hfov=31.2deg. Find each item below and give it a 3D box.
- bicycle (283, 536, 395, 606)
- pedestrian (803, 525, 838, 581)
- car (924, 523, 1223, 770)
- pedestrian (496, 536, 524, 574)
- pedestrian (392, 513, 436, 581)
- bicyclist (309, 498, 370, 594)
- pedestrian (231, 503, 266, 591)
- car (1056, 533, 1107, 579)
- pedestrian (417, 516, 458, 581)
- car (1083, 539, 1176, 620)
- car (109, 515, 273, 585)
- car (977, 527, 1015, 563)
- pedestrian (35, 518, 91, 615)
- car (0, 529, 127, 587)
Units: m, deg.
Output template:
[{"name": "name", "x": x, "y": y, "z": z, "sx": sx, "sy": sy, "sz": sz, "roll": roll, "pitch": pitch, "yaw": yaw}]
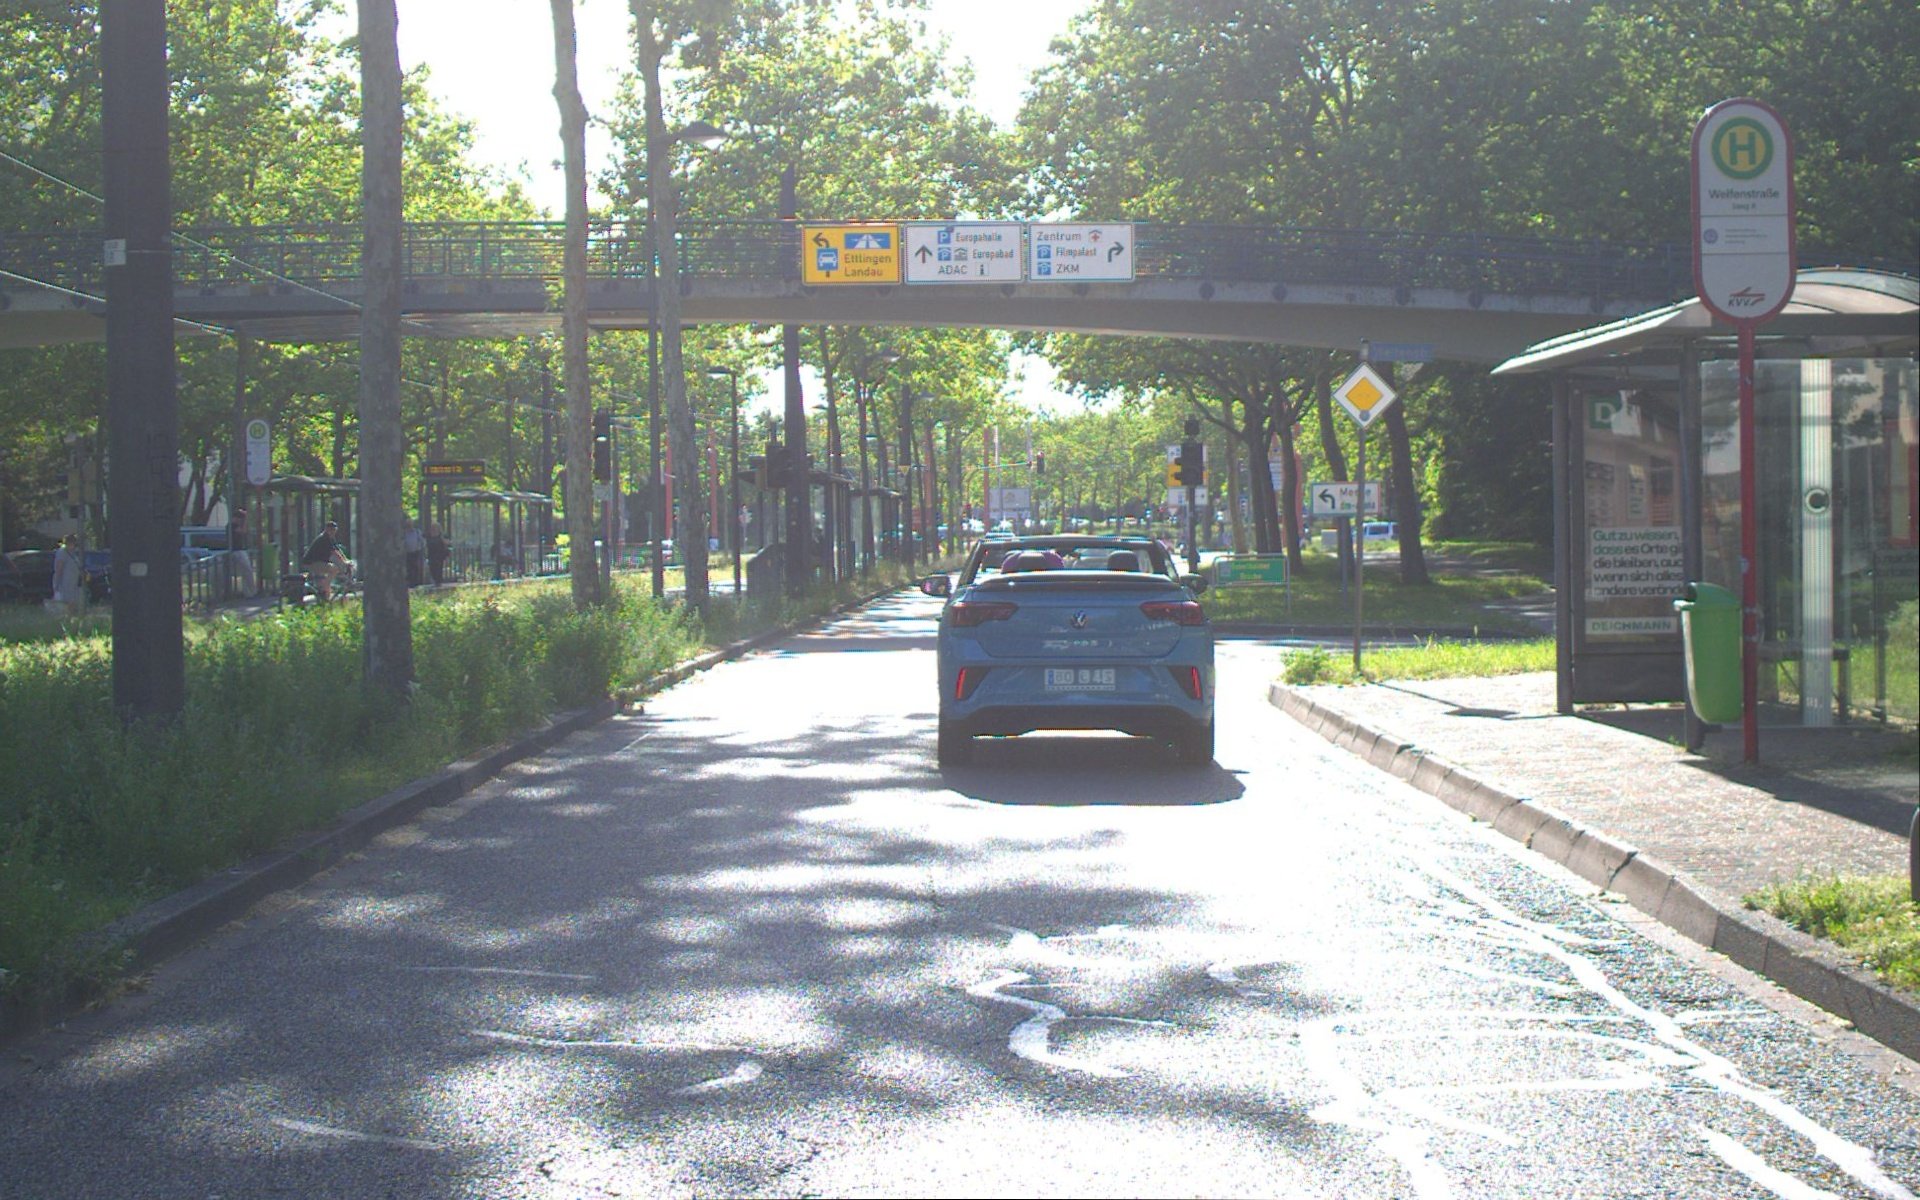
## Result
[{"name": "bicycle", "x": -10.747, "y": -0.506, "z": 59.559, "sx": 1.830, "sy": 1.143, "sz": 0.815, "roll": 1, "pitch": 2, "yaw": -6}, {"name": "pedestrian", "x": -3.118, "y": -1.050, "z": 76.883, "sx": 0.733, "sy": 1.248, "sz": 0.588, "roll": 1, "pitch": 1, "yaw": -4}, {"name": "car", "x": 0.677, "y": 0.243, "z": 23.279, "sx": 1.776, "sy": 1.478, "sz": 4.101, "roll": 1, "pitch": 1, "yaw": -1}, {"name": "pedestrian", "x": -13.801, "y": -1.382, "z": 105.490, "sx": 0.694, "sy": 1.123, "sz": 0.662, "roll": -4, "pitch": 0, "yaw": 2}, {"name": "pedestrian", "x": -13.217, "y": -1.287, "z": 83.277, "sx": 0.714, "sy": 1.629, "sz": 0.730, "roll": -1, "pitch": 1, "yaw": 28}, {"name": "bicyclist", "x": -10.745, "y": -0.935, "z": 59.550, "sx": 0.953, "sy": 1.626, "sz": 0.815, "roll": 1, "pitch": 2, "yaw": -6}, {"name": "pedestrian", "x": -14.337, "y": -1.059, "z": 69.258, "sx": 0.502, "sy": 1.764, "sz": 0.484, "roll": 0, "pitch": 1, "yaw": -39}, {"name": "car", "x": 4.126, "y": -1.510, "z": 117.157, "sx": 1.639, "sy": 1.489, "sz": 3.503, "roll": 1, "pitch": 2, "yaw": 0}, {"name": "pedestrian", "x": -12.473, "y": -1.237, "z": 82.077, "sx": 0.682, "sy": 1.508, "sz": 0.644, "roll": -2, "pitch": 1, "yaw": 18}, {"name": "car", "x": 3.876, "y": -0.492, "z": 79.082, "sx": 1.982, "sy": 1.786, "sz": 4.614, "roll": 1, "pitch": 1, "yaw": 1}, {"name": "car", "x": -23.457, "y": -1.524, "z": 104.898, "sx": 4.486, "sy": 2.056, "sz": 1.900, "roll": 0, "pitch": 2, "yaw": -37}, {"name": "car", "x": 1.630, "y": -2.501, "z": 155.644, "sx": 1.710, "sy": 1.598, "sz": 3.350, "roll": 0, "pitch": 1, "yaw": 0}, {"name": "pedestrian", "x": -15.612, "y": -0.581, "z": 59.841, "sx": 0.725, "sy": 1.668, "sz": 1.049, "roll": 1, "pitch": 1, "yaw": -2}, {"name": "car", "x": -23.875, "y": -1.092, "z": 88.950, "sx": 4.187, "sy": 1.423, "sz": 1.700, "roll": 0, "pitch": 2, "yaw": -37}]
